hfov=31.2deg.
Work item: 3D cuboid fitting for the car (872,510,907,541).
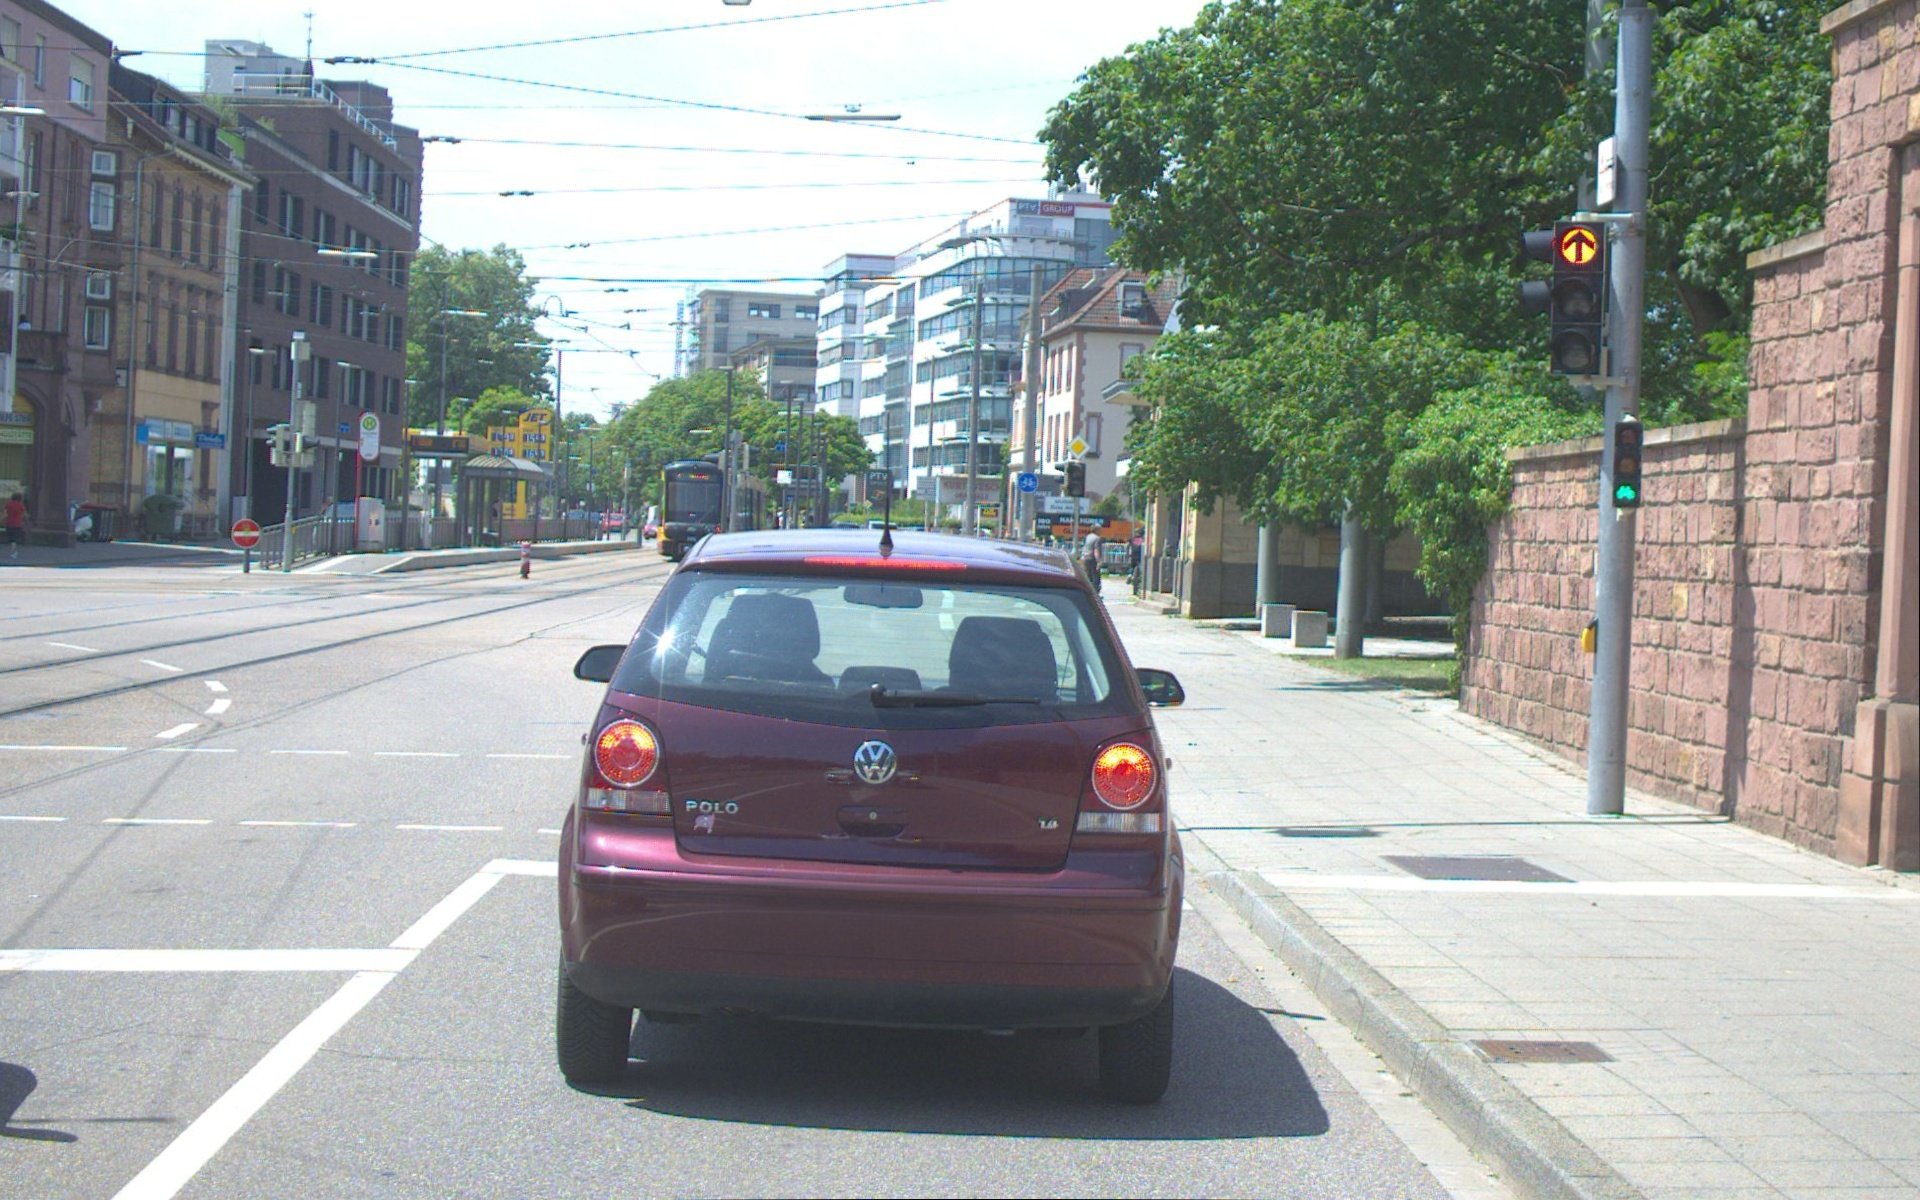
[{"bbox_3d":[-3.229,-3.403,156.820,1.572,1.411,3.720,0,1,-1],"label":"car"}]

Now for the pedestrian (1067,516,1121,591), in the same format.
[{"bbox_3d":[3.047,-1.066,78.306,0.981,1.655,0.919,2,1,-11],"label":"pedestrian"}]

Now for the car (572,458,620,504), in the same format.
[{"bbox_3d":[-16.535,-5.397,156.409,1.735,2.007,4.000,2,1,-1],"label":"car"}]

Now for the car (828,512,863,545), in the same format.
[{"bbox_3d":[-5.968,-3.714,178.797,1.780,1.617,4.000,1,1,-3],"label":"car"}]

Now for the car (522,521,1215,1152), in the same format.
[{"bbox_3d":[-0.274,0.525,10.324,1.610,1.458,4.086,2,1,-2],"label":"car"}]

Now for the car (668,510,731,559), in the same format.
[{"bbox_3d":[-8.996,-2.252,119.151,1.938,1.635,4.000,1,1,-1],"label":"car"}]

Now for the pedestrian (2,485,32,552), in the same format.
[{"bbox_3d":[-21.920,-1.894,79.927,0.483,1.535,0.538,1,0,4],"label":"pedestrian"}]

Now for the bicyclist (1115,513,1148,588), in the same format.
[{"bbox_3d":[4.187,-1.211,83.999,0.721,1.812,0.888,1,0,-1],"label":"bicyclist"}]

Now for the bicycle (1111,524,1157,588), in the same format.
[{"bbox_3d":[4.212,-1.061,83.382,0.835,1.520,4.000,1,1,-1],"label":"bicycle"}]
